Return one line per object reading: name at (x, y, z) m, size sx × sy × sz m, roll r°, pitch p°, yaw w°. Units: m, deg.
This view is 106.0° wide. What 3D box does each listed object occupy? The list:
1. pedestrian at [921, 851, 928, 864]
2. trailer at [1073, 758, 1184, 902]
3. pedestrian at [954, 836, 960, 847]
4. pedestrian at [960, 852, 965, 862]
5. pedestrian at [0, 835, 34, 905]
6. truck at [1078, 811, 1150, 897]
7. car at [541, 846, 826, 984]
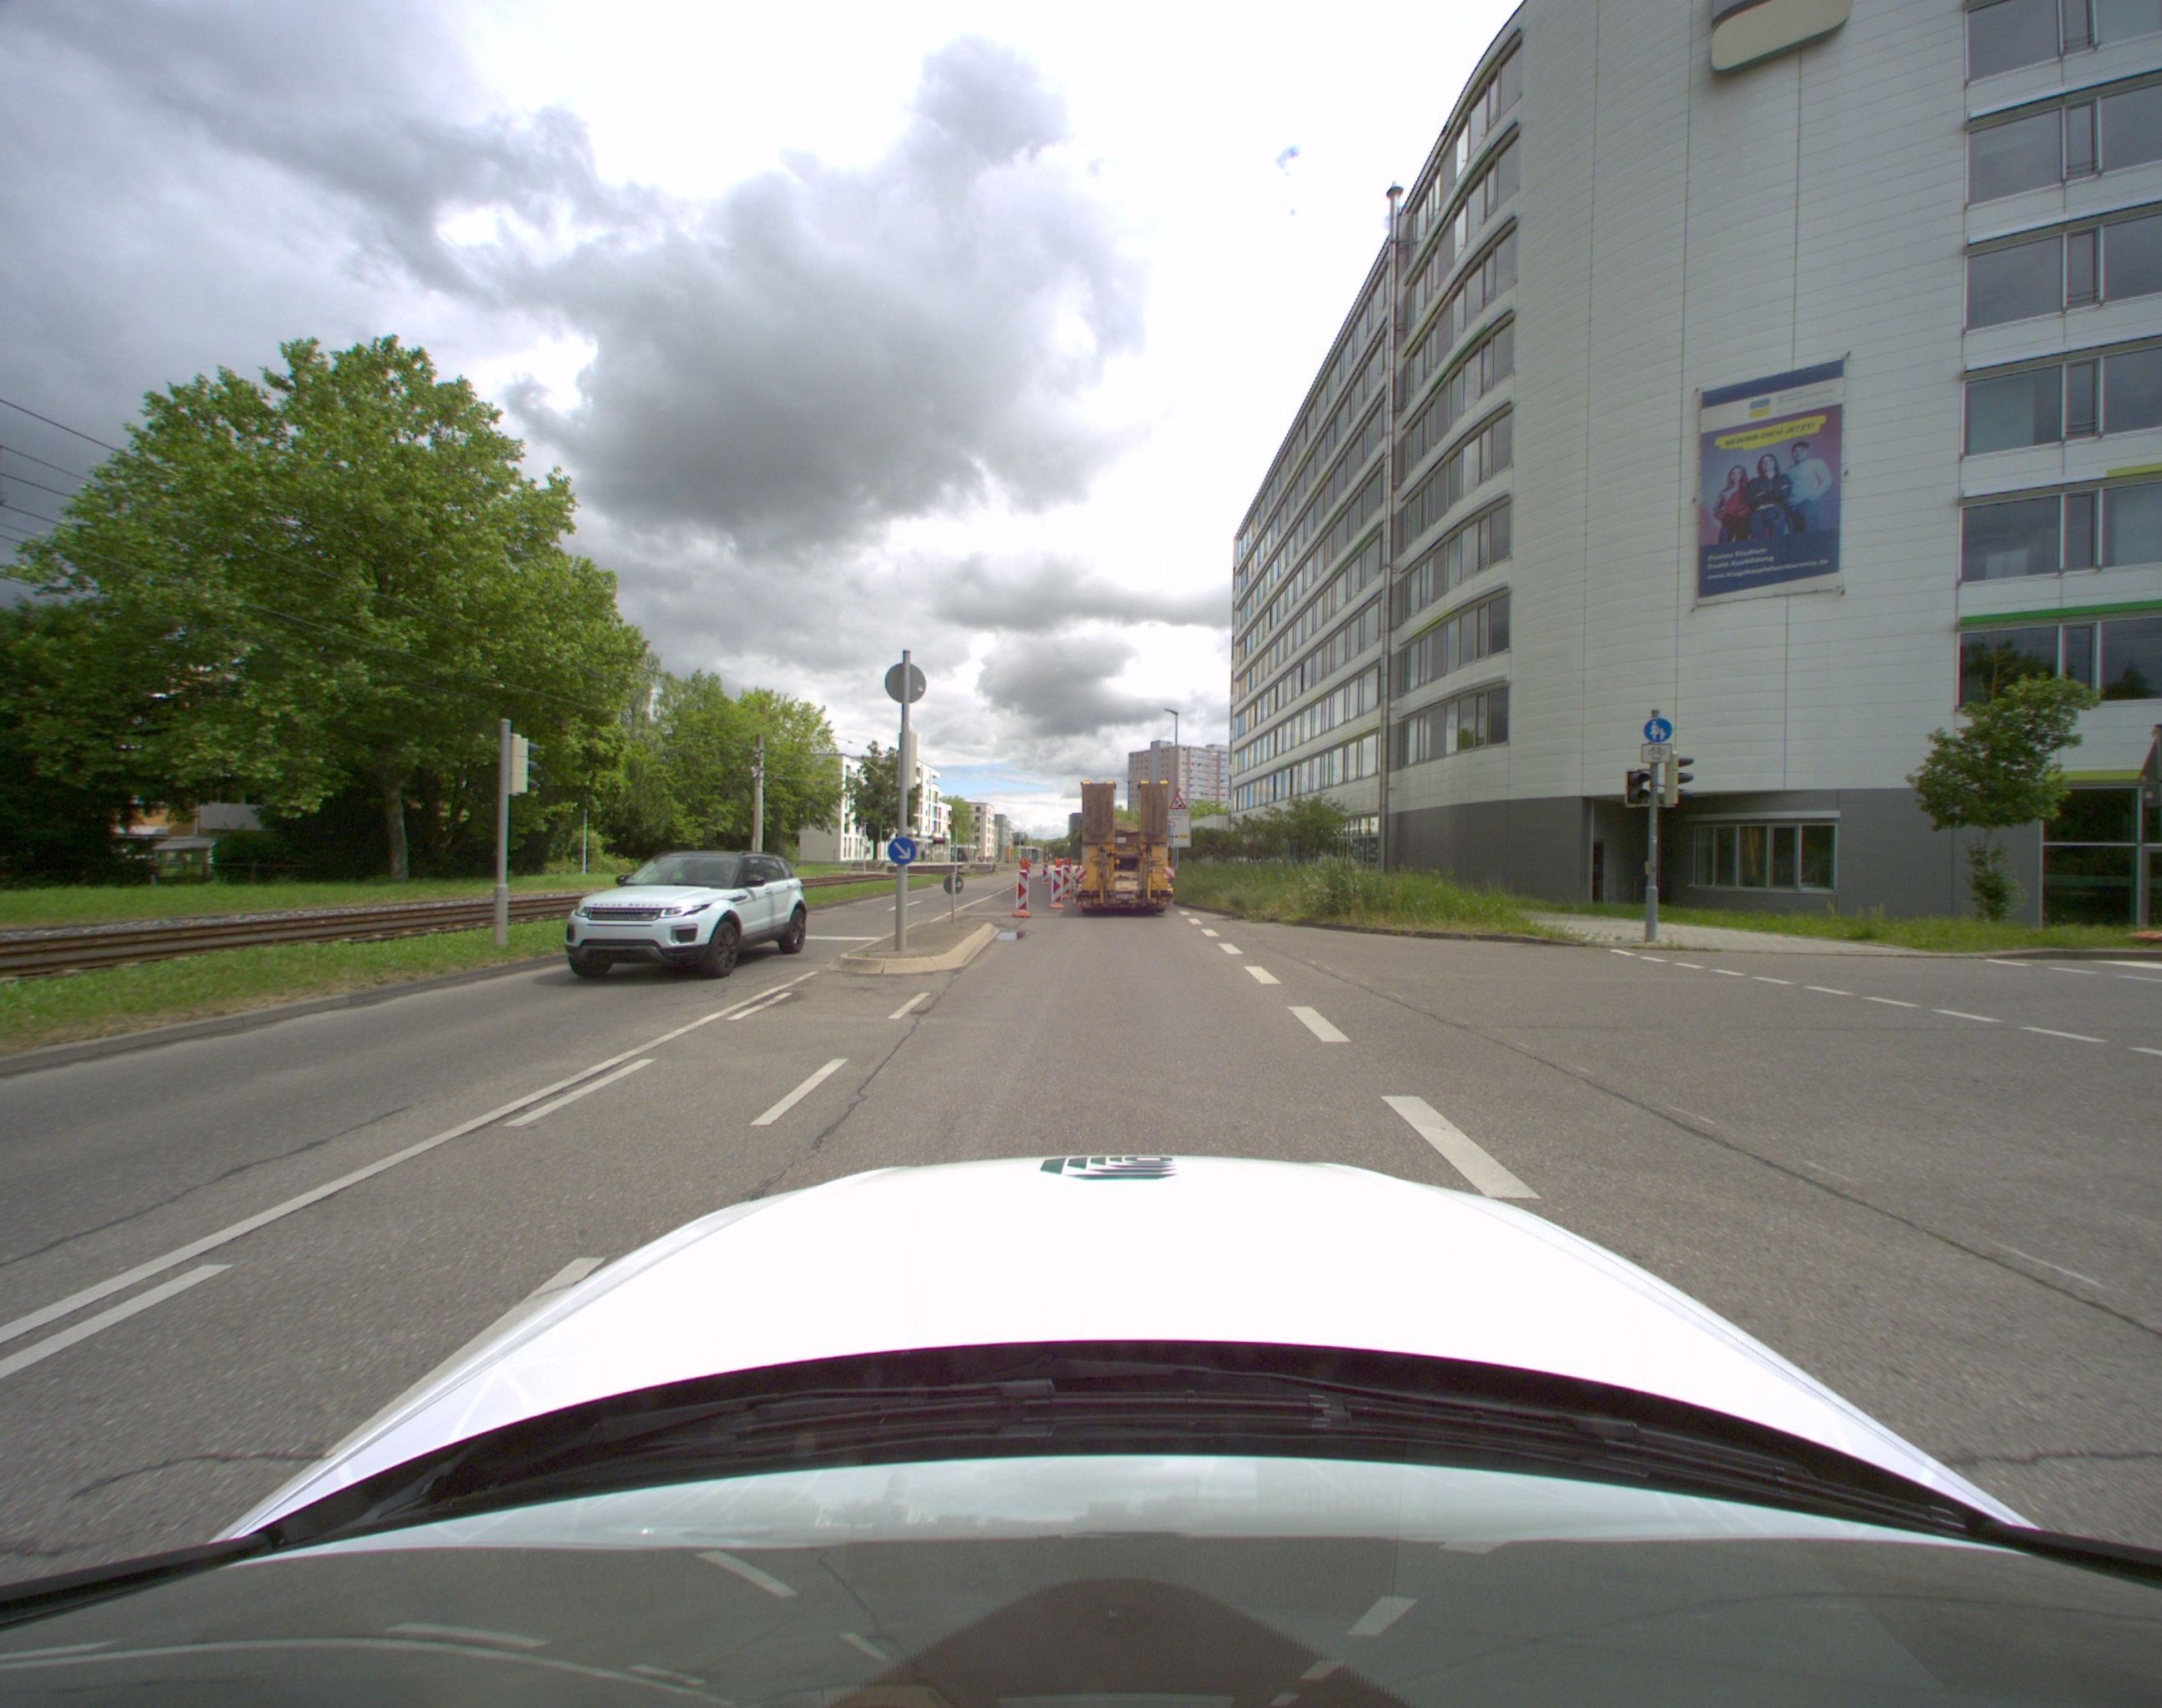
pedestrian at (-19.317, 0.435, 100.610) m, size 0.738 × 1.531 × 0.547 m, roll 1°, pitch -1°, yaw 3°
trailer at (1.235, -0.540, 26.122) m, size 2.720 × 3.559 × 11.252 m, roll 1°, pitch -1°, yaw 0°
pedestrian at (-18.933, -1.900, 124.340) m, size 0.669 × 1.726 × 0.492 m, roll 2°, pitch -4°, yaw 36°
pedestrian at (-18.364, 0.455, 126.401) m, size 0.482 × 1.597 × 0.682 m, roll 1°, pitch -1°, yaw 35°
pedestrian at (-30.523, 0.437, 22.632) m, size 1.030 × 1.933 × 1.364 m, roll 1°, pitch 0°, yaw 1°
truck at (1.307, 0.047, 35.943) m, size 2.744 × 3.313 × 8.350 m, roll 1°, pitch -1°, yaw 0°
car at (-5.403, 0.735, 11.906) m, size 1.854 × 1.610 × 4.607 m, roll 1°, pitch 0°, yaw 0°
